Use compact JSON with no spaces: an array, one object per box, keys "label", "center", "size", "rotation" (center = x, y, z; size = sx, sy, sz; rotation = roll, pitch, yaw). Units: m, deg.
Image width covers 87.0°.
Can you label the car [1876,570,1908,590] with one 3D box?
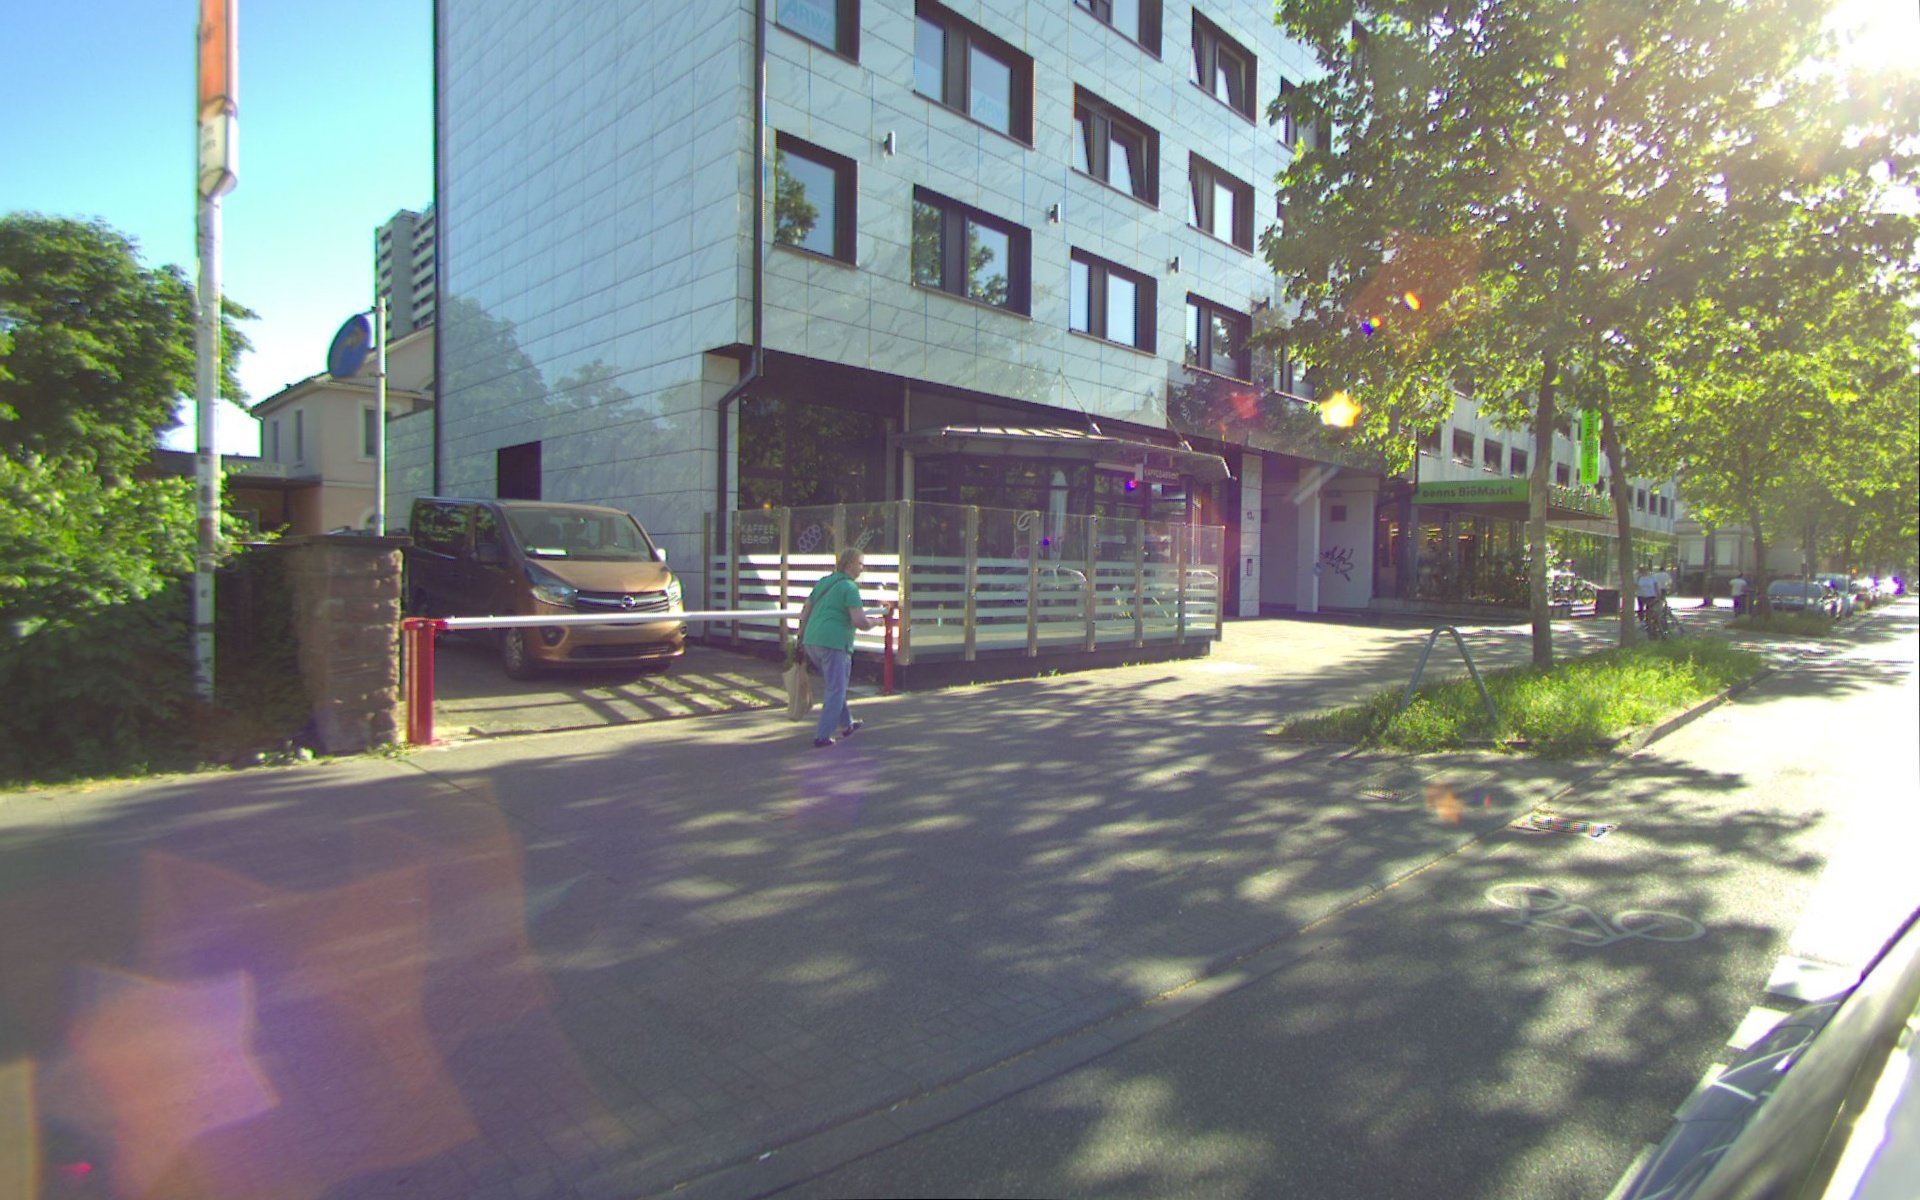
[{"label":"car","center":[76.885,-1.661,83.481],"size":[1.835,1.584,4.206],"rotation":[1,2,44]}]

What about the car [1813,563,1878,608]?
[{"label":"car","center":[37.916,-0.641,43.297],"size":[1.765,1.814,4.322],"rotation":[3,3,45]}]

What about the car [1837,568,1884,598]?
[{"label":"car","center":[48.299,-0.950,54.260],"size":[1.674,1.455,3.633],"rotation":[5,5,43]}]

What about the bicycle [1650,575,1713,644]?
[{"label":"bicycle","center":[12.968,0.140,18.236],"size":[0.784,1.147,1.826],"rotation":[2,2,32]}]

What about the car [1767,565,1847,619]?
[{"label":"car","center":[26.324,-0.308,31.421],"size":[1.566,1.569,3.936],"rotation":[2,3,45]}]

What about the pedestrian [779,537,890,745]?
[{"label":"pedestrian","center":[-1.000,0.292,8.220],"size":[0.726,1.594,0.831],"rotation":[1,3,6]}]

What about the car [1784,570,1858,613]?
[{"label":"car","center":[31.027,-0.347,36.442],"size":[1.761,1.435,4.627],"rotation":[1,2,44]}]

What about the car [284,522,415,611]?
[{"label":"car","center":[-12.821,-0.737,21.184],"size":[1.569,1.692,3.613],"rotation":[-2,3,-44]}]

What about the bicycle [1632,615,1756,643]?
[{"label":"bicycle","center":[13.139,0.501,18.116],"size":[1.366,0.357,1.610],"rotation":[-2,3,-45]}]

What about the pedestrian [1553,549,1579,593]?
[{"label":"pedestrian","center":[24.958,-1.208,41.698],"size":[0.606,1.735,0.609],"rotation":[7,5,20]}]

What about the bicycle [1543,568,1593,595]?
[{"label":"bicycle","center":[23.989,-0.748,39.932],"size":[0.573,0.927,1.657],"rotation":[4,3,-18]}]

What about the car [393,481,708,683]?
[{"label":"car","center":[-5.222,-0.381,12.462],"size":[1.882,2.008,4.903],"rotation":[-1,5,-44]}]

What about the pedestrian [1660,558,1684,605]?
[{"label":"pedestrian","center":[27.257,-0.717,38.737],"size":[0.560,1.765,0.865],"rotation":[3,3,44]}]

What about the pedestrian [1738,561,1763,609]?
[{"label":"pedestrian","center":[28.903,-0.555,36.993],"size":[0.560,1.725,1.035],"rotation":[3,3,44]}]

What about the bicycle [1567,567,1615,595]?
[{"label":"bicycle","center":[26.925,-0.816,43.239],"size":[0.573,1.068,1.710],"rotation":[2,3,-18]}]

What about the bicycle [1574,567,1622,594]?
[{"label":"bicycle","center":[27.699,-0.856,43.967],"size":[0.573,1.068,1.710],"rotation":[1,4,-18]}]

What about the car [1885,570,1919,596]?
[{"label":"car","center":[56.507,-1.056,60.498],"size":[1.627,1.459,3.868],"rotation":[4,4,44]}]

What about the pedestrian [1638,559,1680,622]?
[{"label":"pedestrian","center":[18.772,-0.280,27.175],"size":[0.853,1.632,0.699],"rotation":[-1,4,-43]}]
